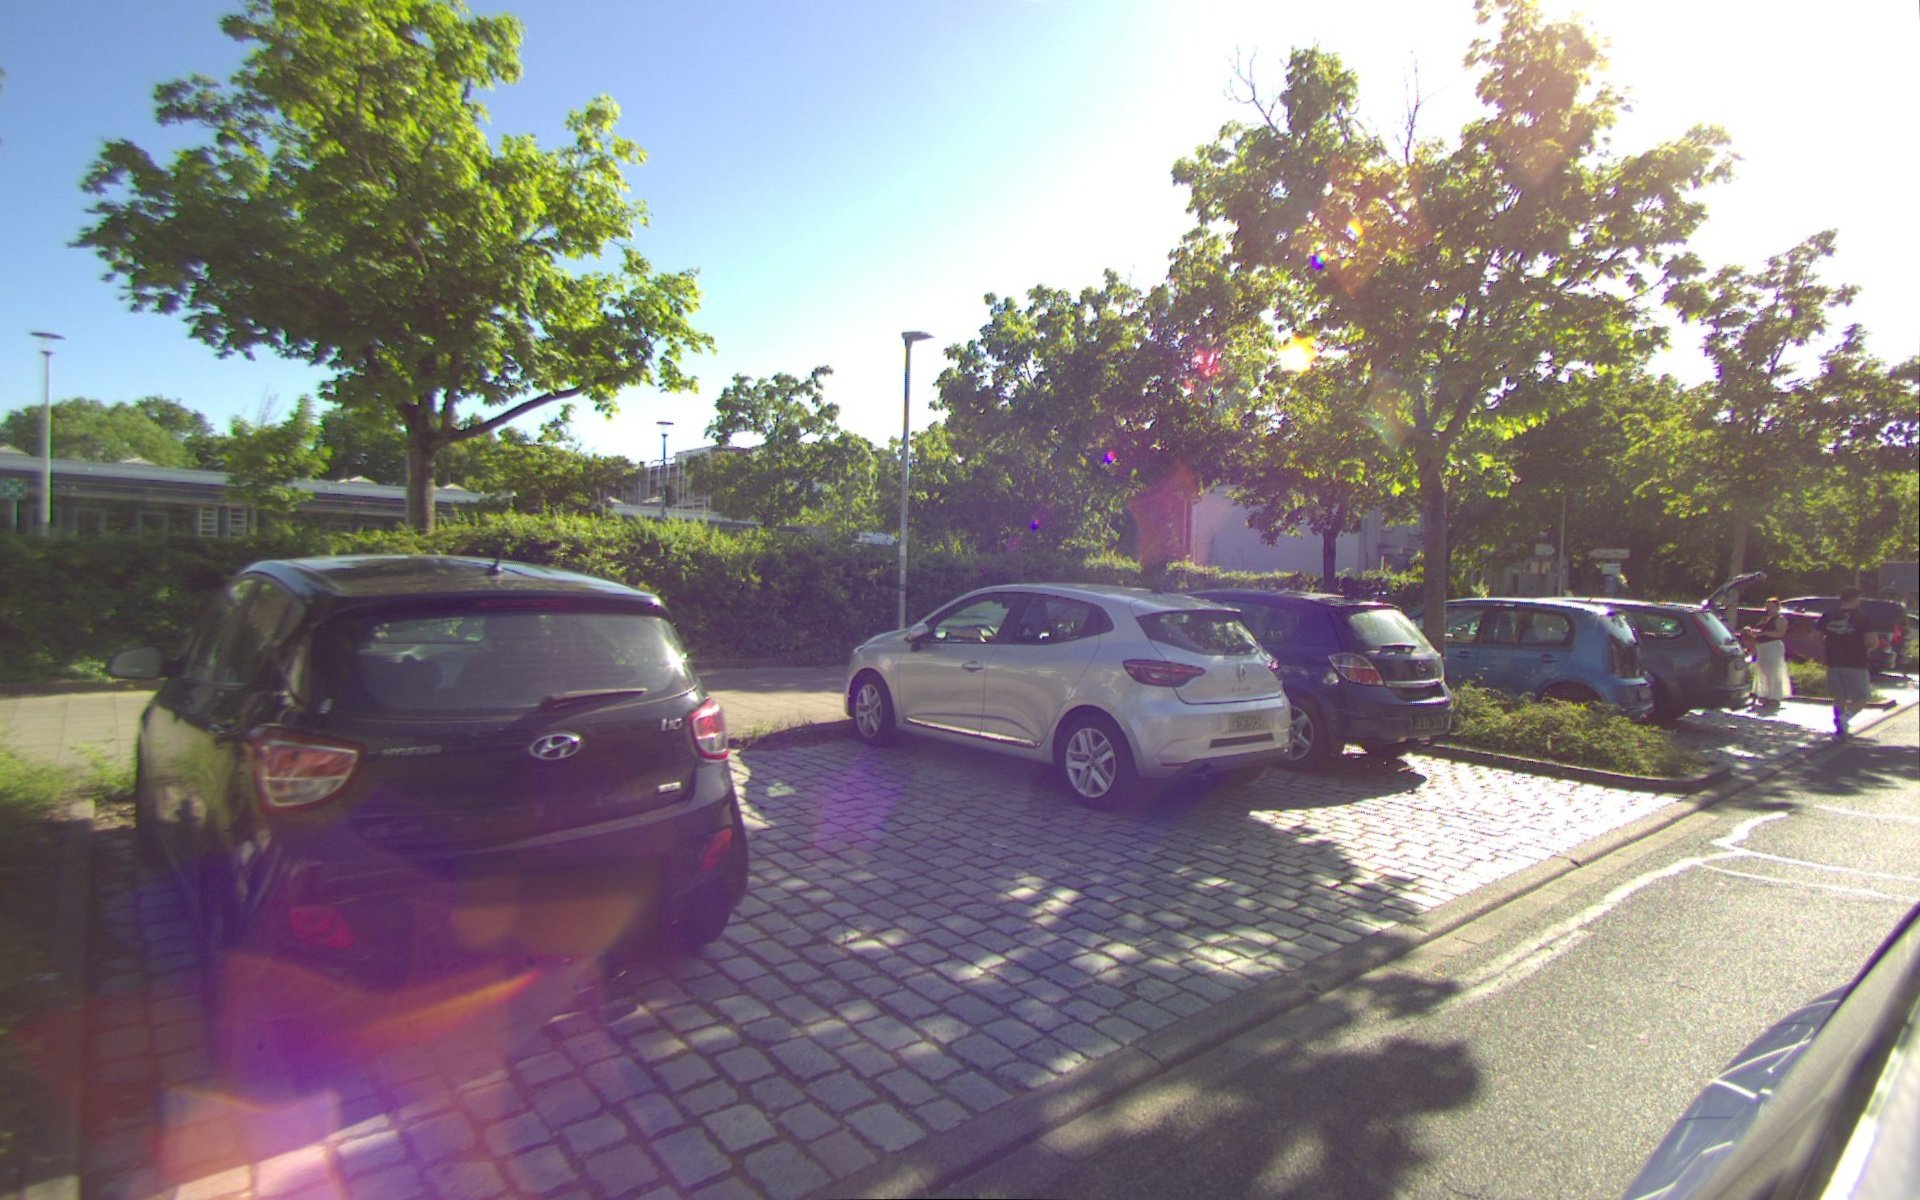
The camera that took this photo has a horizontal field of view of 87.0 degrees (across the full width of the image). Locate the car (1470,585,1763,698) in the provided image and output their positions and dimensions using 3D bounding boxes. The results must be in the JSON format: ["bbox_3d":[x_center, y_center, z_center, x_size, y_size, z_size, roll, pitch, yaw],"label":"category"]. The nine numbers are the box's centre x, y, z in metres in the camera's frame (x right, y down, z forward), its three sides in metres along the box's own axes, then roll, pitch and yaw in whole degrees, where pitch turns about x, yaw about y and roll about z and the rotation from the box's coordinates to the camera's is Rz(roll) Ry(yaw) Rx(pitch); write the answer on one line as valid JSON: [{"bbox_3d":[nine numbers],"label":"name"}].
[{"bbox_3d":[11.174,0.642,17.423,1.650,1.597,3.905,3,0,-42],"label":"car"}]

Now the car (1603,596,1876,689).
[{"bbox_3d":[14.840,0.721,19.433,1.644,1.444,3.905,0,2,-42],"label":"car"}]

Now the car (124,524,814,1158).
[{"bbox_3d":[-2.318,0.477,4.267,1.717,1.507,3.459,0,3,-42],"label":"car"}]

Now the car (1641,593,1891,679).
[{"bbox_3d":[17.139,0.707,21.661,1.777,1.454,3.906,2,2,-42],"label":"car"}]

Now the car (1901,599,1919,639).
[{"bbox_3d":[45.906,1.004,45.813,1.798,1.794,4.658,1,3,-42],"label":"car"}]

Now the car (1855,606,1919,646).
[{"bbox_3d":[38.514,1.098,40.241,1.798,1.423,4.162,1,3,-42],"label":"car"}]

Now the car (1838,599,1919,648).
[{"bbox_3d":[35.179,0.918,37.199,1.798,1.617,4.162,1,3,-42],"label":"car"}]

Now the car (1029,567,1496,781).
[{"bbox_3d":[2.666,0.521,9.661,1.809,1.516,3.905,1,2,-39],"label":"car"}]

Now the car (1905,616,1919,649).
[{"bbox_3d":[44.202,1.570,44.160,1.798,1.423,4.162,1,3,-42],"label":"car"}]

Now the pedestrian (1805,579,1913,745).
[{"bbox_3d":[10.455,0.677,11.765,1.148,1.793,0.720,1,3,-42],"label":"pedestrian"}]

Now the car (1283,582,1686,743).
[{"bbox_3d":[6.036,0.620,11.999,1.593,1.486,3.905,3,0,-42],"label":"car"}]

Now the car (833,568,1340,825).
[{"bbox_3d":[0.776,0.538,7.994,1.809,1.434,3.742,1,2,-39],"label":"car"}]

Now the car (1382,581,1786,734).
[{"bbox_3d":[8.029,0.623,13.349,1.707,1.538,4.193,1,2,-42],"label":"car"}]

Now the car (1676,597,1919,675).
[{"bbox_3d":[19.433,0.764,23.576,1.798,1.423,4.162,1,3,-42],"label":"car"}]

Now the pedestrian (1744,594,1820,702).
[{"bbox_3d":[12.741,0.722,15.687,0.662,1.599,0.765,3,0,-41],"label":"pedestrian"}]

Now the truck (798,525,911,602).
[{"bbox_3d":[-5.925,-2.020,55.930,2.760,3.854,6.920,3,0,-38],"label":"truck"}]

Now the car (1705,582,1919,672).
[{"bbox_3d":[21.639,0.609,25.554,1.847,1.869,4.164,1,3,-40],"label":"car"}]
